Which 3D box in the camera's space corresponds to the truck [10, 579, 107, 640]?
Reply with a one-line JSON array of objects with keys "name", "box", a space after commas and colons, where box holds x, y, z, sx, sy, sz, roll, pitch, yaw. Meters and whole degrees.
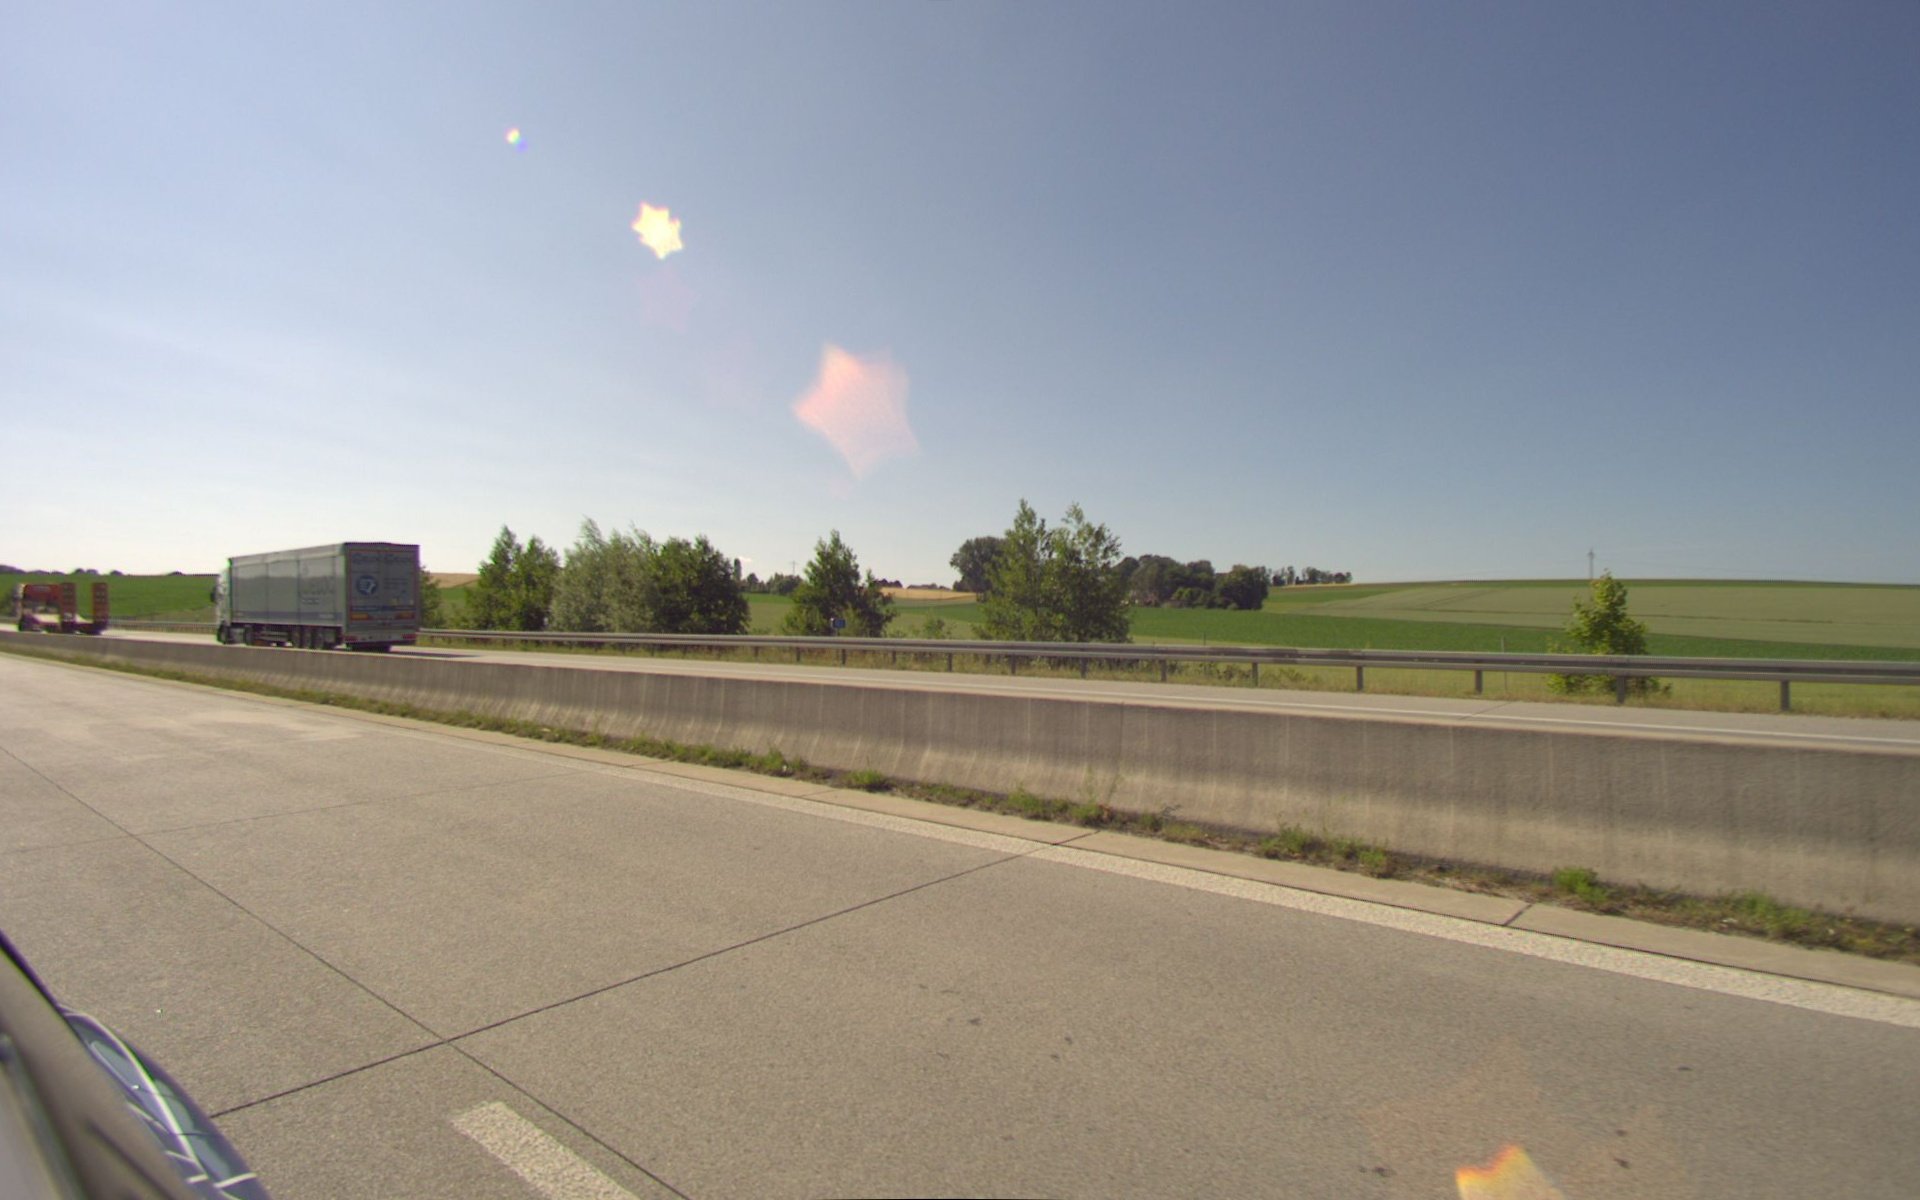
[{"name": "truck", "box": [-66.074, 0.747, 73.958, 17.100, 4.046, 2.839, -1, -1, 40]}]

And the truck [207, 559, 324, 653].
[{"name": "truck", "box": [-30.905, 0.296, 44.981, 5.979, 3.903, 2.832, -1, -1, 41]}]

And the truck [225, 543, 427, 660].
[{"name": "truck", "box": [-25.759, 0.155, 40.591, 13.859, 4.038, 2.830, -1, -1, 41]}]
